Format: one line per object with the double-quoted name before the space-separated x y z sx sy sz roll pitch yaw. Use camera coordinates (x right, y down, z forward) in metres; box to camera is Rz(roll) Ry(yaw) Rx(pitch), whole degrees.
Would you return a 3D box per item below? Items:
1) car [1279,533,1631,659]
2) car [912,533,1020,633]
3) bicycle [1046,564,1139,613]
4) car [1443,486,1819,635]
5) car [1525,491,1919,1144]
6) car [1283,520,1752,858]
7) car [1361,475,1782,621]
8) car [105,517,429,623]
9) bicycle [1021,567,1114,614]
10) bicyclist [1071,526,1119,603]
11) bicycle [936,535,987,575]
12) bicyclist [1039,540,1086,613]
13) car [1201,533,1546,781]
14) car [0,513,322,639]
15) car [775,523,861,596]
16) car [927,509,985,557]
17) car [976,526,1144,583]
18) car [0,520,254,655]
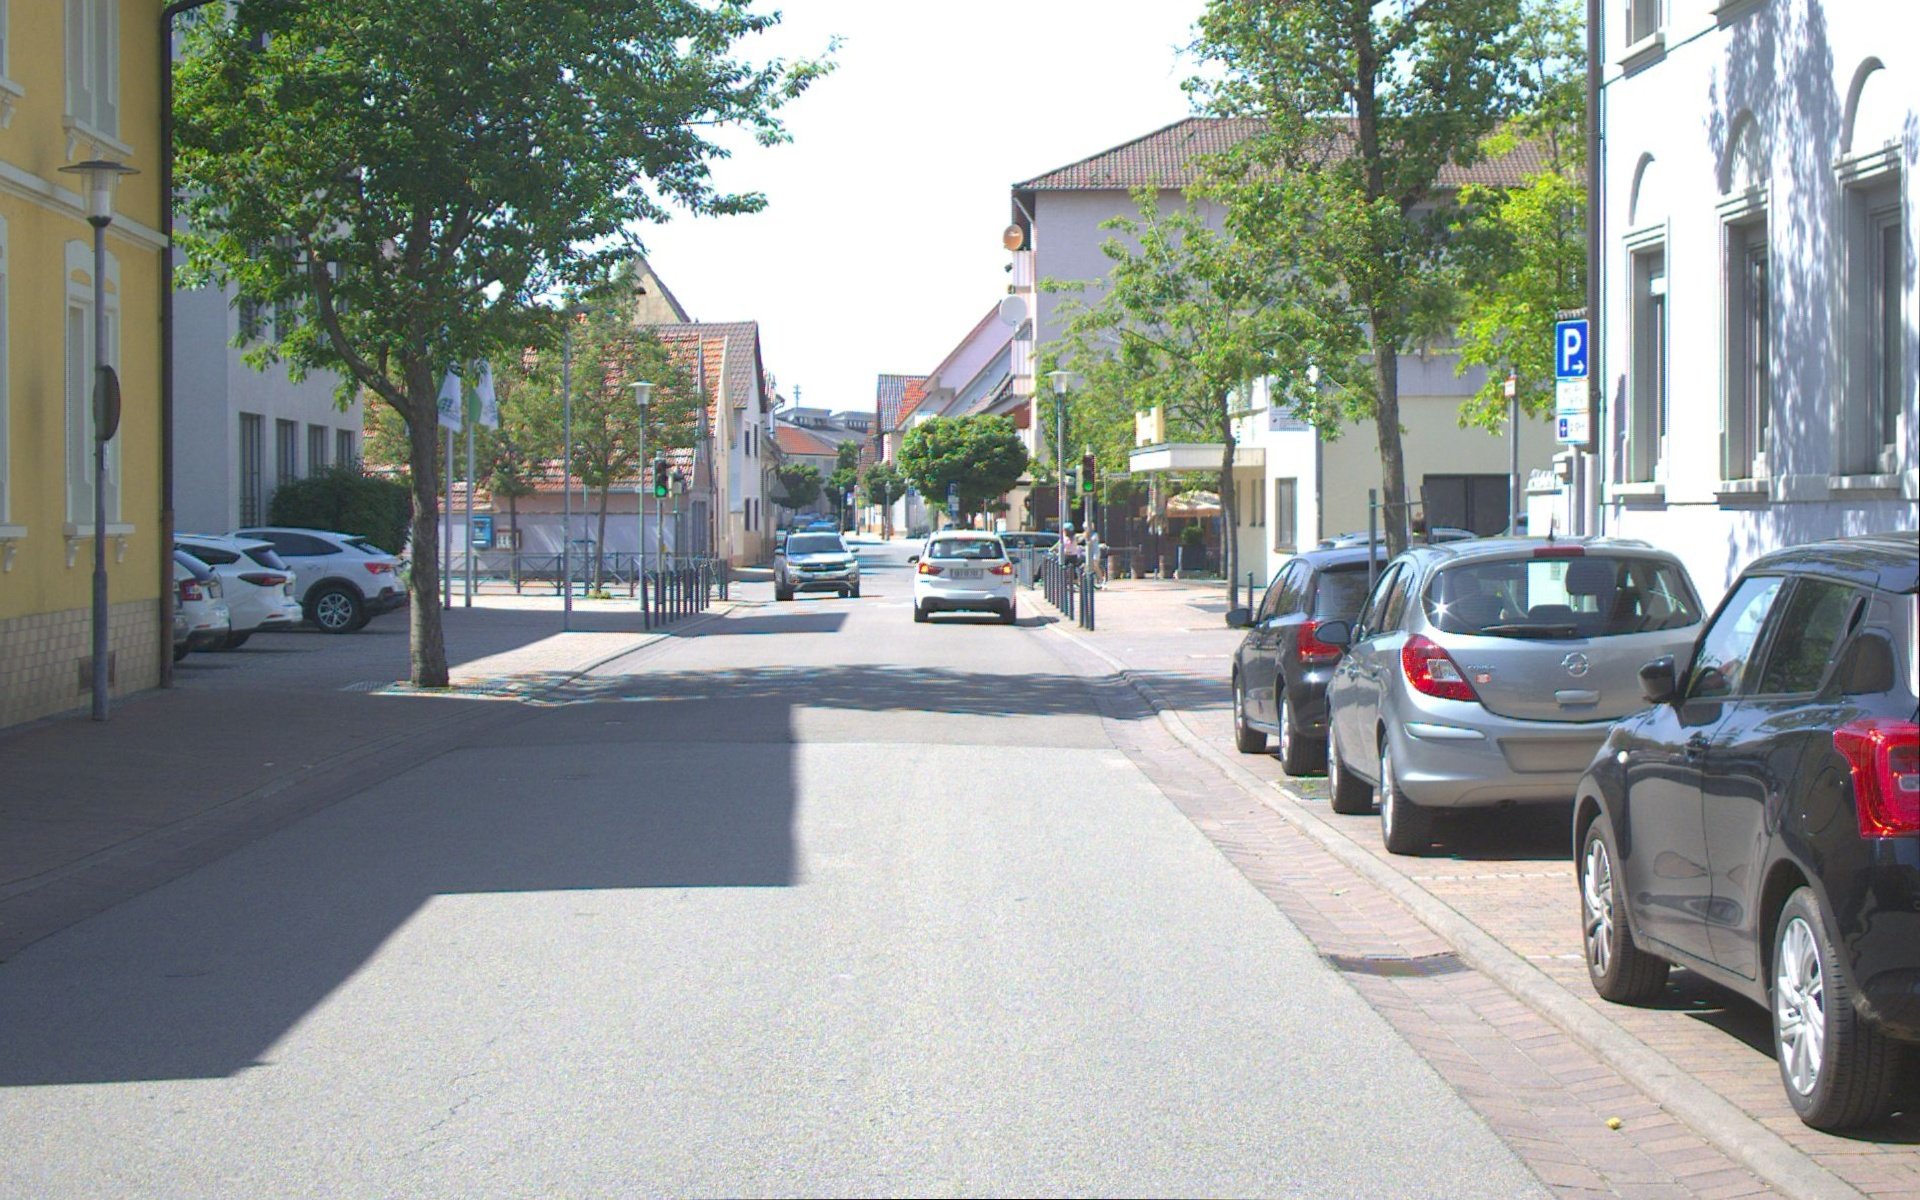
"car" 7.052 -0.082 49.205 4.574 1.507 1.917 -3 1 -6
"car" 0.100 -0.332 61.035 1.834 1.646 4.000 1 2 0
"bicycle" 2.943 -0.269 76.382 1.889 0.954 0.676 -4 2 -23
"car" 7.469 -0.459 38.447 3.728 1.447 1.745 -3 2 -6
"car" 2.828 0.475 9.828 1.737 1.508 3.736 0 1 -1
"car" 2.711 0.365 17.602 1.717 1.476 4.096 2 1 0
"car" 7.236 -0.634 40.930 4.535 1.435 1.840 -3 2 -6
"car" -10.430 -0.465 52.027 4.506 1.549 2.148 0 1 -2
"bicycle" 2.353 -0.203 75.103 1.889 0.954 0.676 1 1 -23
"bicyclist" 2.992 -0.788 76.392 0.759 1.658 0.671 -4 2 -24
"bicycle" 0.048 -1.405 106.562 0.525 1.189 1.674 -3 1 -44
"bicyclist" 2.243 -0.514 75.053 0.759 1.576 0.671 1 1 -23
"car" 2.686 0.348 23.148 1.703 1.476 3.922 2 0 -2
"car" -10.531 -0.306 43.654 4.503 1.549 1.935 0 1 -1
"car" -3.269 -0.965 79.860 1.851 1.568 4.001 -2 2 -1
"car" -0.121 -2.259 115.475 1.805 1.496 4.000 -1 2 1
"car" 2.806 -1.283 96.999 4.420 1.459 1.887 -2 2 -10
"car" -10.087 -0.153 38.609 3.986 1.446 1.808 0 2 -2
